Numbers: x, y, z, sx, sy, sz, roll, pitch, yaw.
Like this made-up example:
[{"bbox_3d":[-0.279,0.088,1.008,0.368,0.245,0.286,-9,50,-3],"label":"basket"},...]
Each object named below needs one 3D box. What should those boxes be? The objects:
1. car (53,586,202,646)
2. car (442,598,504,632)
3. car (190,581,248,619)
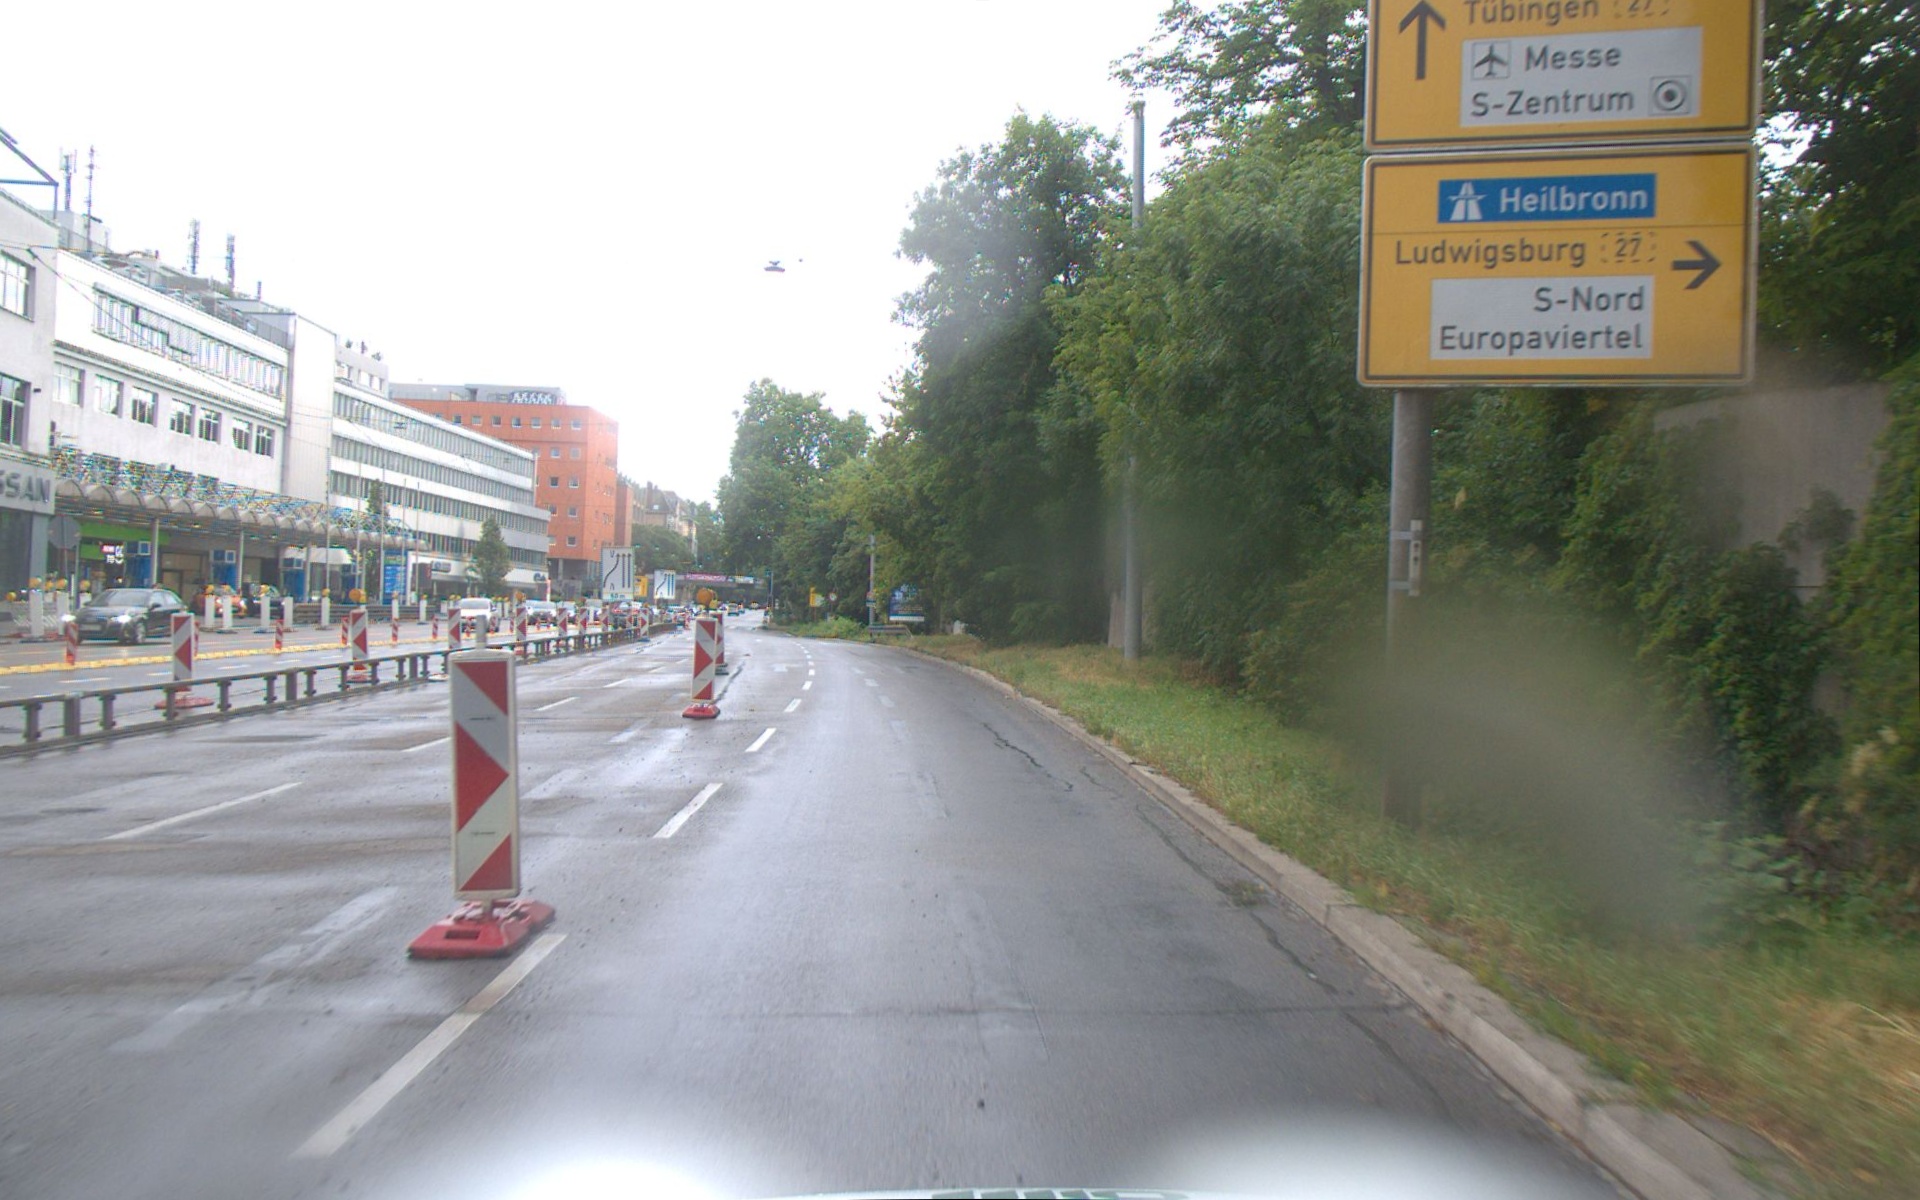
[{"bbox_3d":[-21.266,0.403,42.427,1.726,1.430,4.249,1,0,-1],"label":"car"},{"bbox_3d":[-21.025,0.645,71.587,1.745,1.405,4.450,0,0,-6],"label":"car"},{"bbox_3d":[-36.977,-0.012,82.534,1.786,1.684,3.949,4,-1,-36],"label":"car"}]
